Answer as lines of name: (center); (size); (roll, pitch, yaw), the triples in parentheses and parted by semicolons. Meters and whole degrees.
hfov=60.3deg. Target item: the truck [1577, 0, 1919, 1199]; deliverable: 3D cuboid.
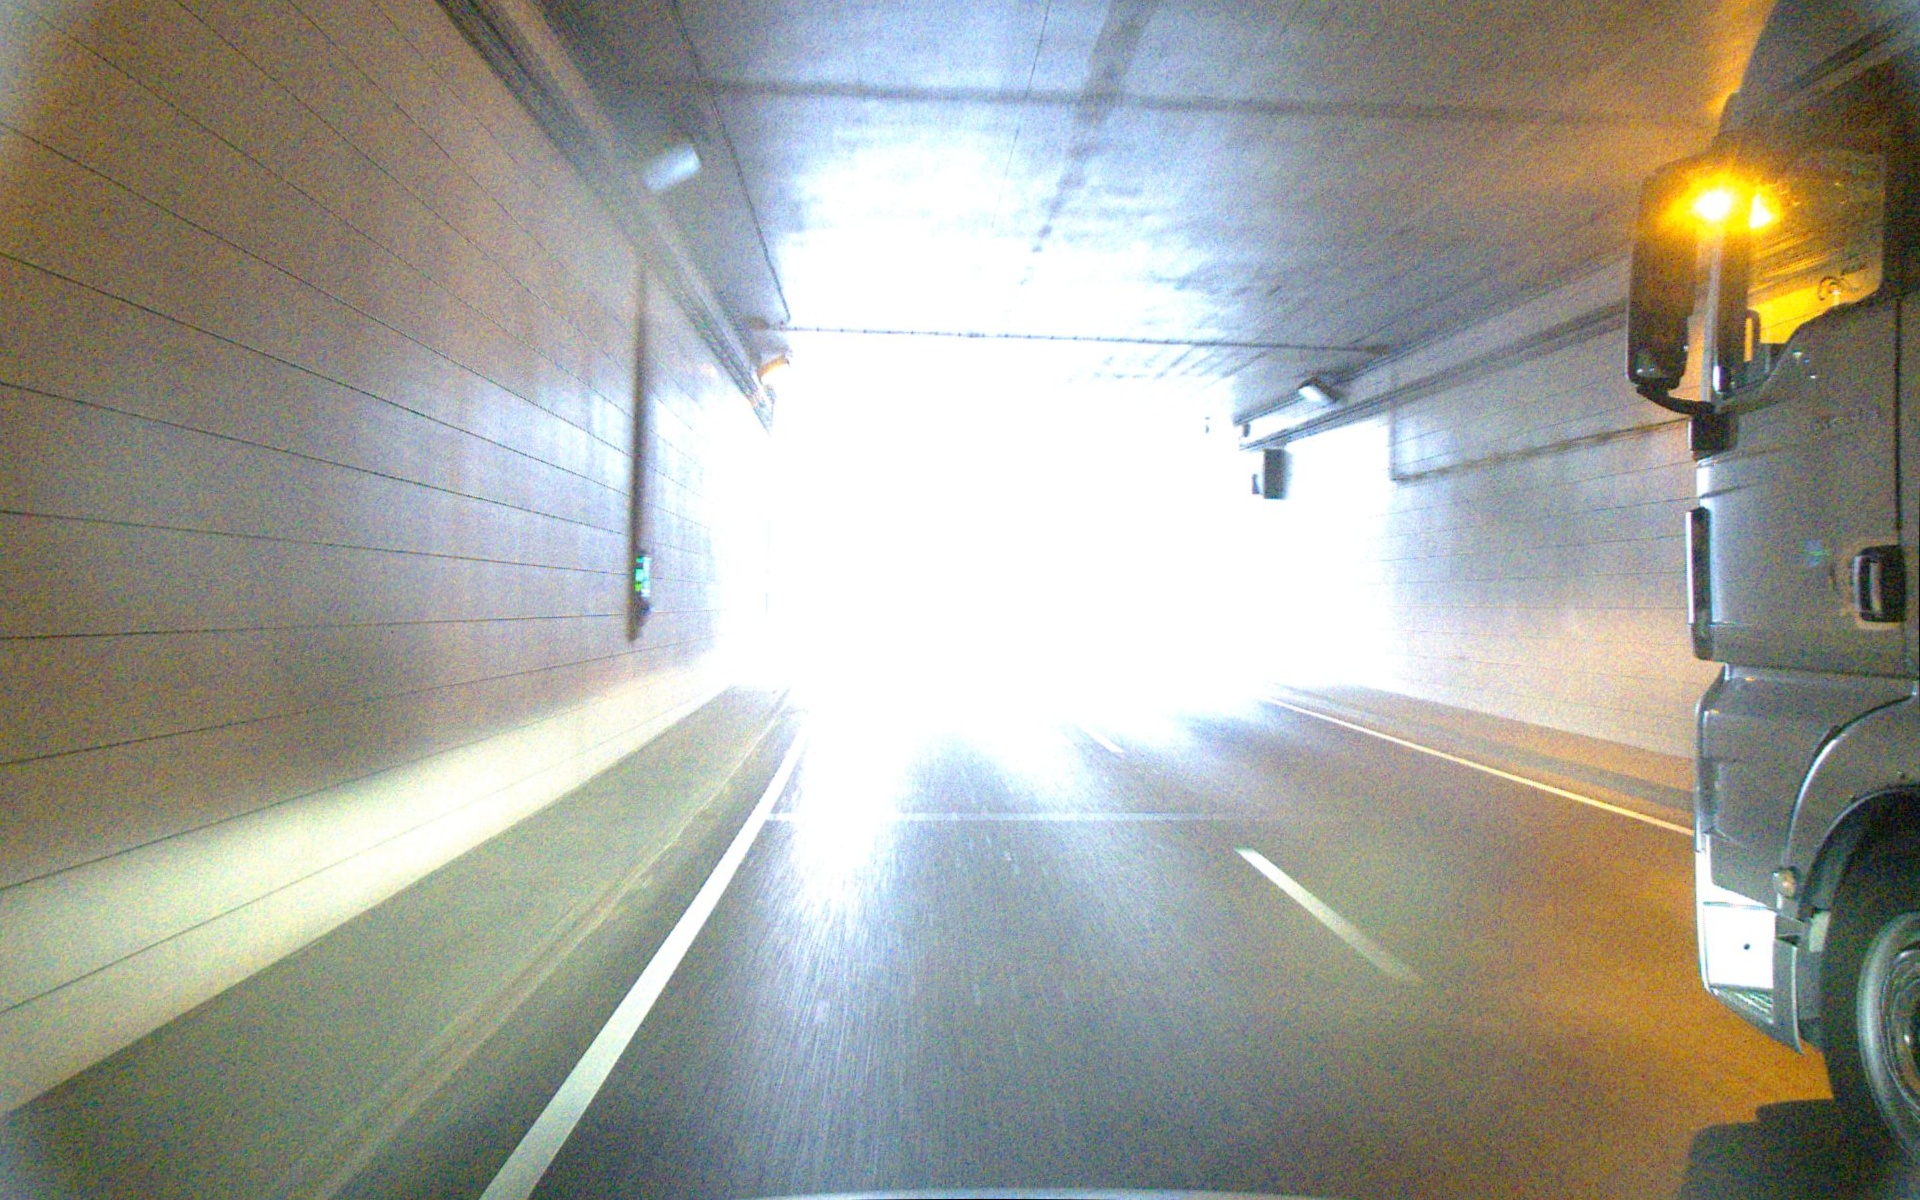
truck: (3.612, -0.539, 0.440); (2.831, 3.982, 9.905); (1, 0, -2)

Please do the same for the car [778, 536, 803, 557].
car: (-15.738, -4.939, 153.587); (1.837, 1.763, 3.988); (1, 0, -12)
